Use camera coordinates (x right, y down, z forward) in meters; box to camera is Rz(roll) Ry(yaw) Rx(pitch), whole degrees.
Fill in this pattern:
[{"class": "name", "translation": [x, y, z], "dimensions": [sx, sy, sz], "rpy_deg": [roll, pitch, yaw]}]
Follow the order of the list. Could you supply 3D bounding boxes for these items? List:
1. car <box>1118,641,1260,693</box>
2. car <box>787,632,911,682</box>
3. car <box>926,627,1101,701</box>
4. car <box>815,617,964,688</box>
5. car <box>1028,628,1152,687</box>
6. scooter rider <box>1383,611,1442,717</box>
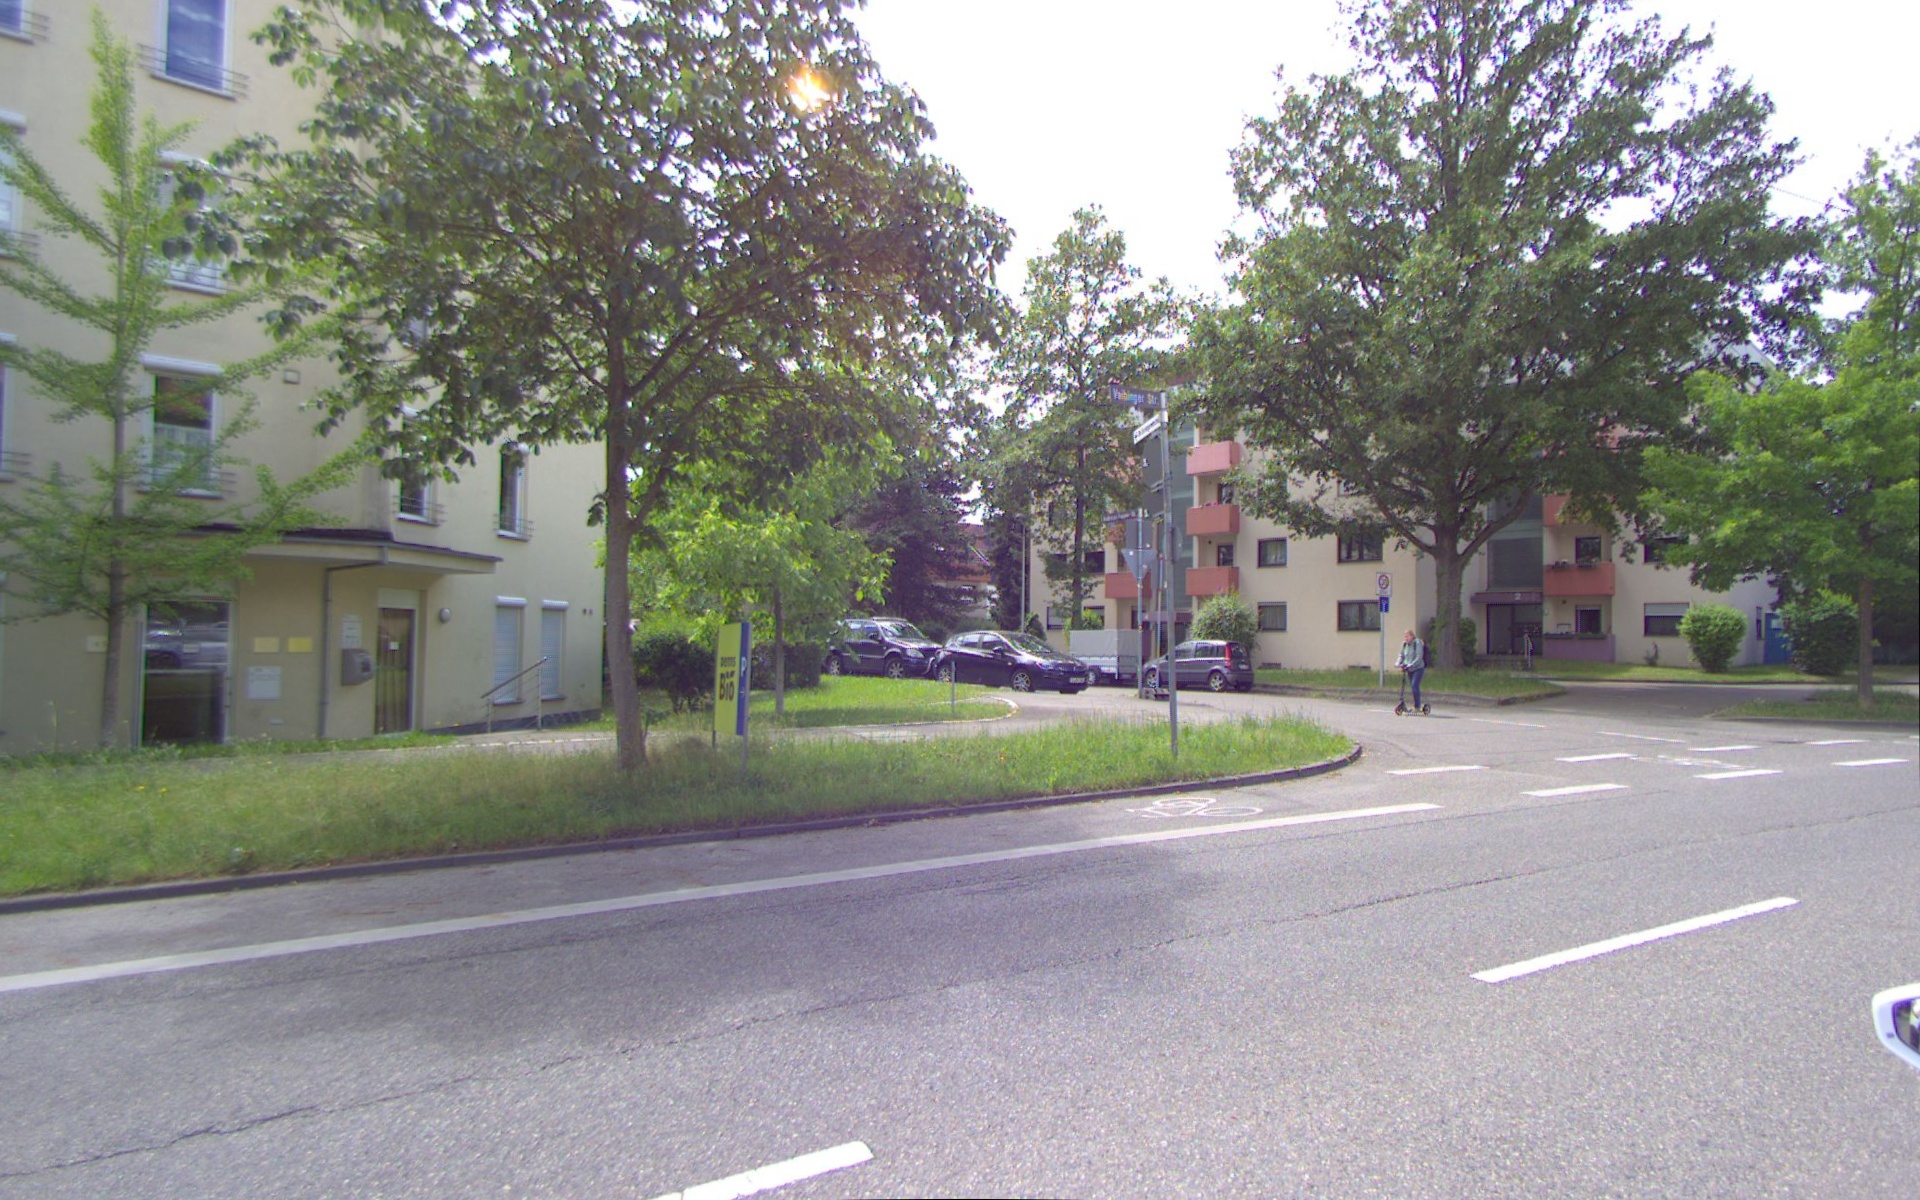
[{"class": "car", "translation": [6.952, 2.005, 30.721], "dimensions": [3.945, 1.471, 1.687], "rpy_deg": [-2, -4, 43]}, {"class": "car", "translation": [-4.324, 2.168, 39.052], "dimensions": [4.337, 1.817, 2.124], "rpy_deg": [-1, -2, 28]}, {"class": "car", "translation": [1.181, 1.444, 23.726], "dimensions": [1.725, 1.417, 4.100], "rpy_deg": [2, 0, -42]}, {"class": "car", "translation": [-2.037, 1.394, 27.880], "dimensions": [1.857, 1.675, 4.379], "rpy_deg": [2, 0, -41]}, {"class": "car", "translation": [4.362, 2.017, 34.124], "dimensions": [1.833, 1.868, 3.952], "rpy_deg": [5, -7, -42]}, {"class": "scooter rider", "translation": [8.985, 1.254, 19.944], "dimensions": [0.785, 2.040, 0.673], "rpy_deg": [2, 0, -30]}]
